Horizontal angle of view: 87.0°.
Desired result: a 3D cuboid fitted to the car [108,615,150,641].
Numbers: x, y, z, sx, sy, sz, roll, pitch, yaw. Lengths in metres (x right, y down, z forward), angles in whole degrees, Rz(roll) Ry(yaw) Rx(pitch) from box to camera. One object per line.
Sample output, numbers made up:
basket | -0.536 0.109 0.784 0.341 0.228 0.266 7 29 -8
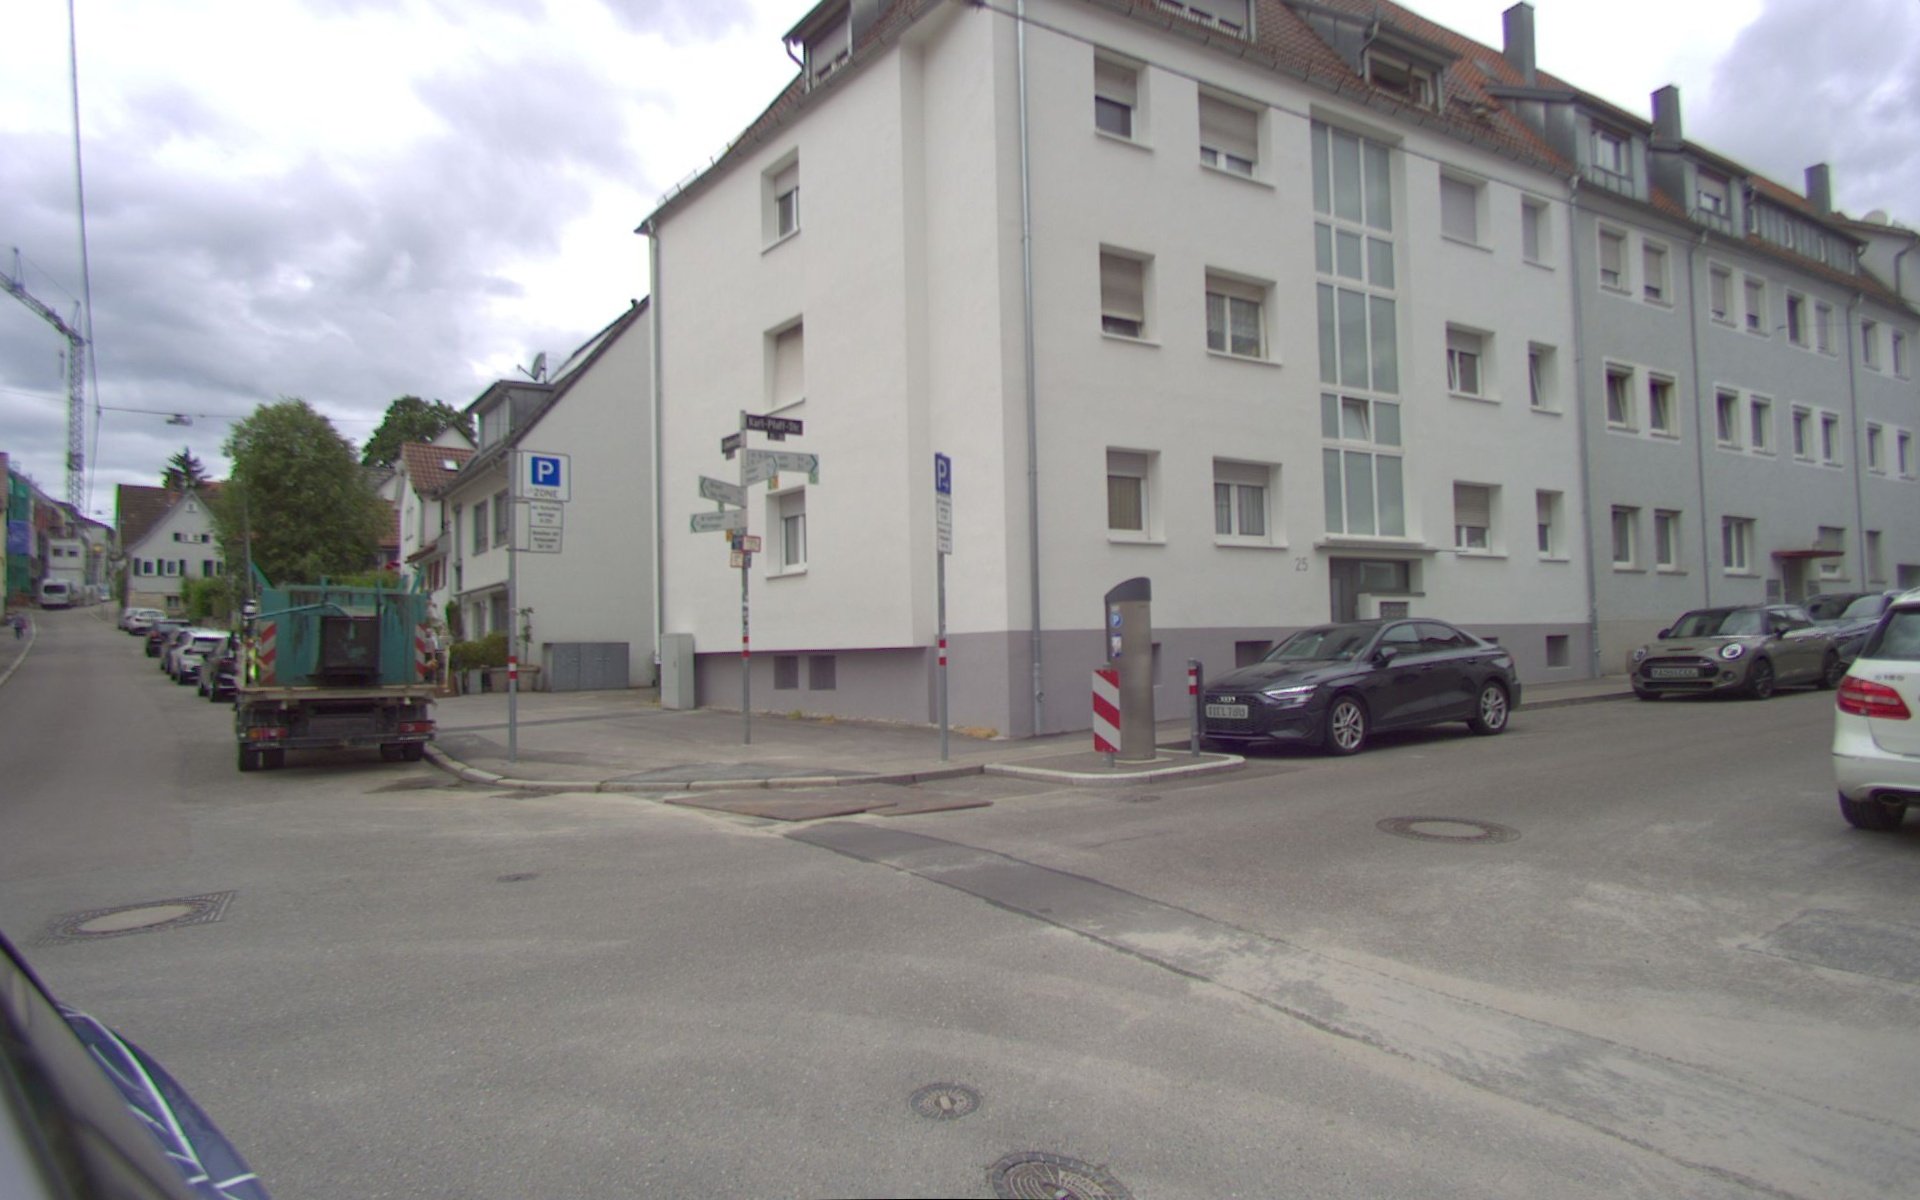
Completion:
car | -52.679 1.754 64.120 1.828 1.460 3.951 3 0 -42

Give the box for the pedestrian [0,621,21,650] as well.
pedestrian | -49.298 1.852 52.488 0.565 1.500 0.748 -2 -2 35

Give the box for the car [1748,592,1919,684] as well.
car | 16.237 0.648 18.264 3.655 1.481 1.741 -1 -3 -28

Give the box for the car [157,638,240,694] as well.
car | -24.237 2.049 32.160 1.827 1.663 3.952 2 -3 -40

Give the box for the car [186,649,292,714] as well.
car | -18.402 2.005 25.756 1.827 1.475 3.952 2 -3 -40

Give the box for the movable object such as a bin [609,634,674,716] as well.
movable object such as a bin | -6.583 1.521 20.916 0.995 1.630 1.004 1 -2 -37

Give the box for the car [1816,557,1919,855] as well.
car | 7.121 0.529 6.130 3.959 1.611 1.831 -1 -1 -33

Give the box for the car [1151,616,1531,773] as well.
car | 4.441 0.983 11.637 4.225 1.402 1.831 -1 -3 -32

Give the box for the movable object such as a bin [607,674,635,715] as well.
movable object such as a bin | -9.127 2.531 27.233 0.558 1.064 0.817 2 -4 -29

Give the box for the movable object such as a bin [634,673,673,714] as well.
movable object such as a bin | -8.406 2.547 27.744 0.843 1.064 0.894 1 -4 -29

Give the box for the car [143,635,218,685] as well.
car | -28.756 2.153 37.304 1.828 1.663 3.951 3 -2 -42

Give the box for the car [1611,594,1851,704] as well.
car | 12.159 0.737 15.933 3.656 1.500 1.741 -1 -3 -32

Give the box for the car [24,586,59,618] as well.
car | -81.535 0.186 89.892 2.161 2.665 5.834 3 -2 -42

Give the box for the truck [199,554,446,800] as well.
truck | -8.922 0.979 13.834 2.280 2.571 6.301 2 -4 -37

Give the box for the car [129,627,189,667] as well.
car | -36.147 2.082 45.639 1.828 1.663 3.951 3 -2 -42

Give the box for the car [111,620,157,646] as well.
car | -48.611 1.923 59.547 1.828 1.460 3.951 3 -2 -42

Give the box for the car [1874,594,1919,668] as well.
car | 20.658 0.565 20.803 3.656 1.459 1.741 -1 -3 -32
